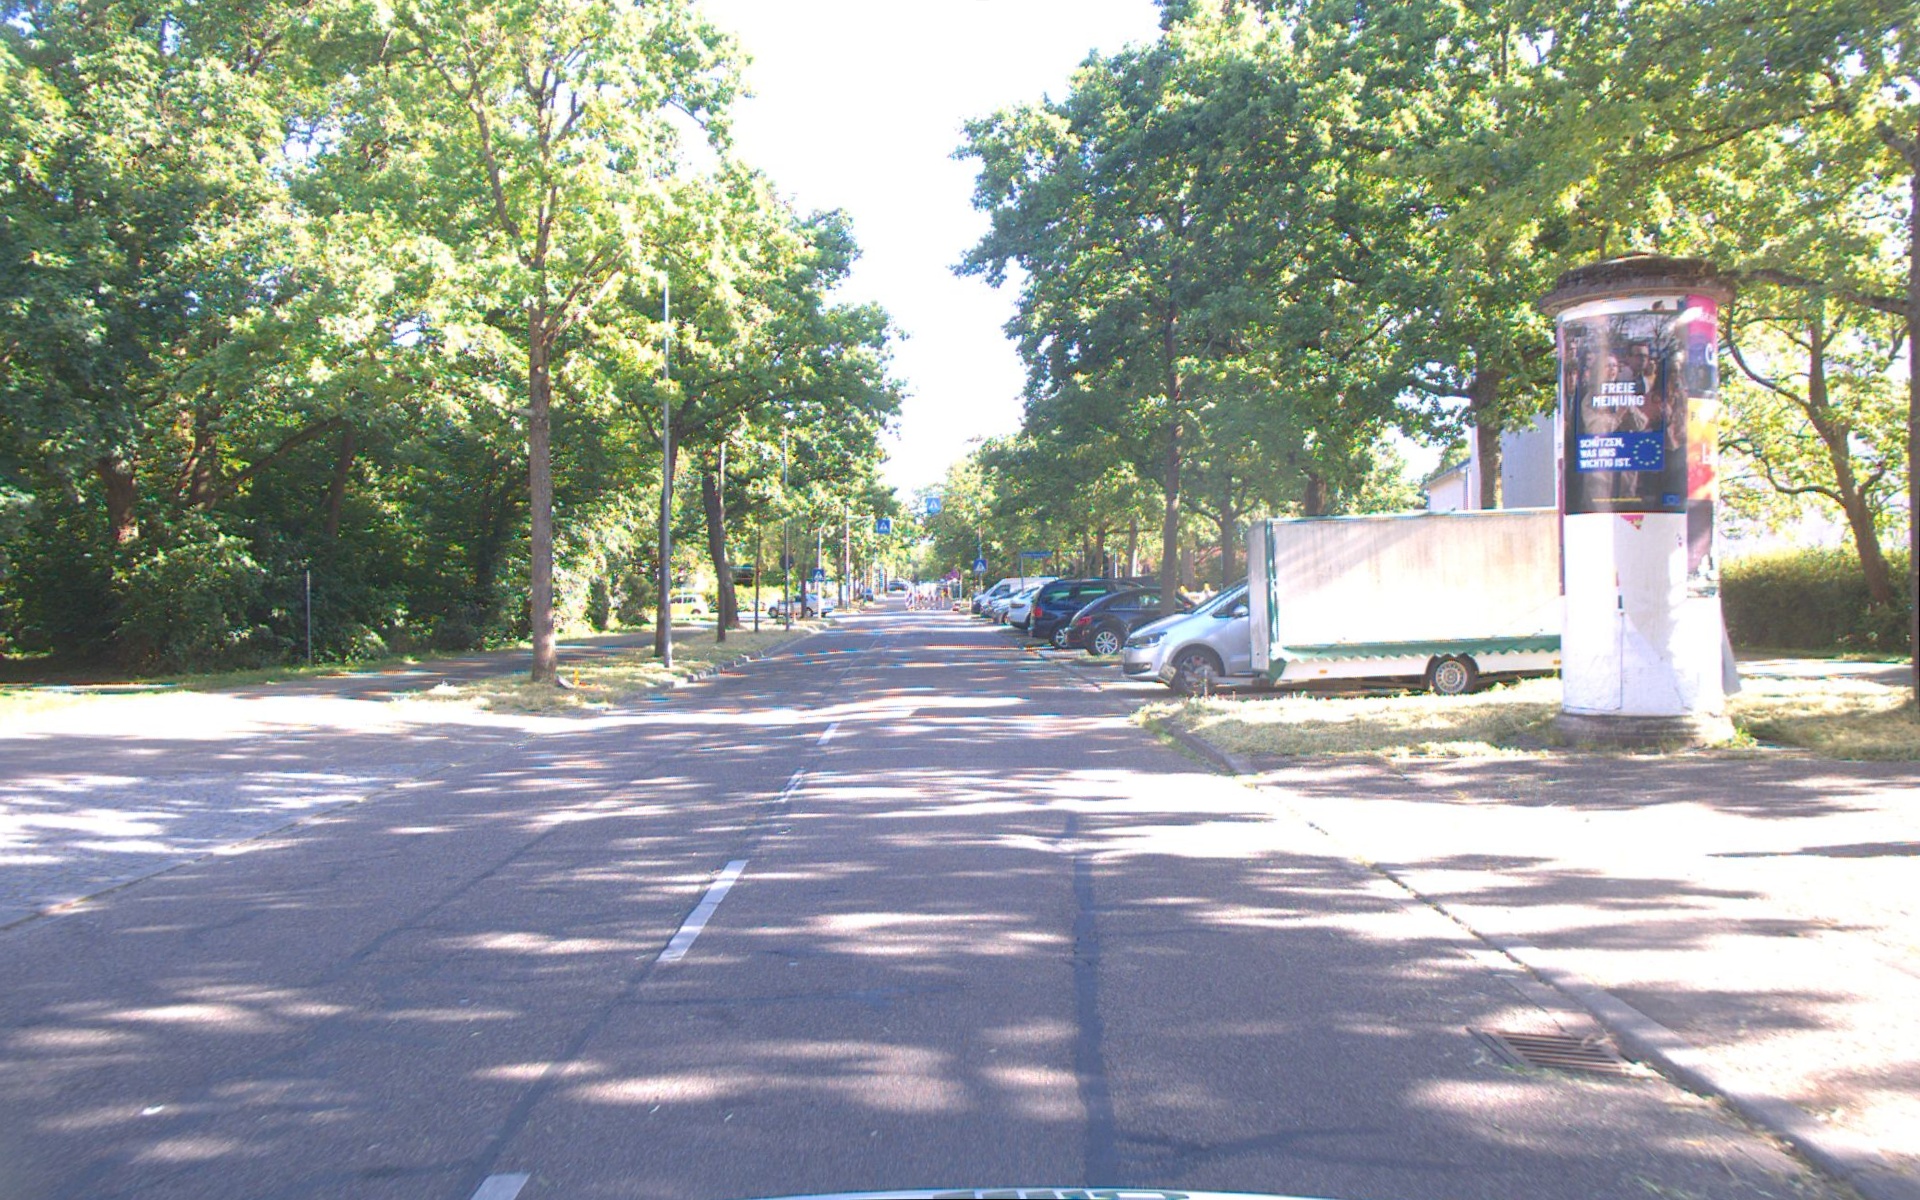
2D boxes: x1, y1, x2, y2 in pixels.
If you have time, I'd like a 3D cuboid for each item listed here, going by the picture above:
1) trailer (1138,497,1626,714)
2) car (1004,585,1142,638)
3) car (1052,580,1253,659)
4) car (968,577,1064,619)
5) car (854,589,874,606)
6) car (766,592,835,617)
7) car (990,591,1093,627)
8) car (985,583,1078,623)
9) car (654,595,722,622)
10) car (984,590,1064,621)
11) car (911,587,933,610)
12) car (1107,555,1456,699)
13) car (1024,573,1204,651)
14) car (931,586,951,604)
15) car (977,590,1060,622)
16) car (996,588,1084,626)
[{"bbox_3d":[5.210,0.059,20.908,5.656,2.358,1.686,-3,0,1],"label":"trailer"},{"bbox_3d":[3.880,0.382,57.451,4.576,1.608,1.916,-2,0,-1],"label":"car"},{"bbox_3d":[4.193,0.411,36.596,4.159,1.545,2.078,-2,0,0],"label":"car"},{"bbox_3d":[3.044,-0.092,90.556,5.084,2.142,2.081,-1,0,-3],"label":"car"},{"bbox_3d":[-10.003,-0.240,173.157,1.953,1.746,3.999,0,0,-2],"label":"car"},{"bbox_3d":[-10.001,0.266,103.718,3.902,1.510,2.002,-1,0,9],"label":"car"},{"bbox_3d":[3.535,0.380,72.651,4.355,1.414,1.910,-2,0,-2],"label":"car"},{"bbox_3d":[3.436,0.132,80.255,4.297,1.680,1.850,-3,0,-3],"label":"car"},{"bbox_3d":[-17.379,0.534,105.765,3.903,1.684,2.001,-1,0,3],"label":"car"},{"bbox_3d":[3.183,0.283,82.674,3.905,1.458,1.901,-1,0,0],"label":"car"},{"bbox_3d":[-3.381,-0.149,146.332,1.953,1.966,3.999,0,0,-2],"label":"car"},{"bbox_3d":[4.497,0.362,23.655,4.548,1.752,1.987,-3,0,-1],"label":"car"},{"bbox_3d":[3.961,0.296,43.173,4.438,1.832,1.936,-2,0,-1],"label":"car"},{"bbox_3d":[-1.911,-0.488,167.202,1.953,1.746,3.999,0,0,-2],"label":"car"},{"bbox_3d":[3.003,0.295,85.129,4.129,1.596,1.932,0,0,-3],"label":"car"},{"bbox_3d":[3.626,0.298,75.592,3.807,1.523,1.776,-3,0,-2],"label":"car"}]
